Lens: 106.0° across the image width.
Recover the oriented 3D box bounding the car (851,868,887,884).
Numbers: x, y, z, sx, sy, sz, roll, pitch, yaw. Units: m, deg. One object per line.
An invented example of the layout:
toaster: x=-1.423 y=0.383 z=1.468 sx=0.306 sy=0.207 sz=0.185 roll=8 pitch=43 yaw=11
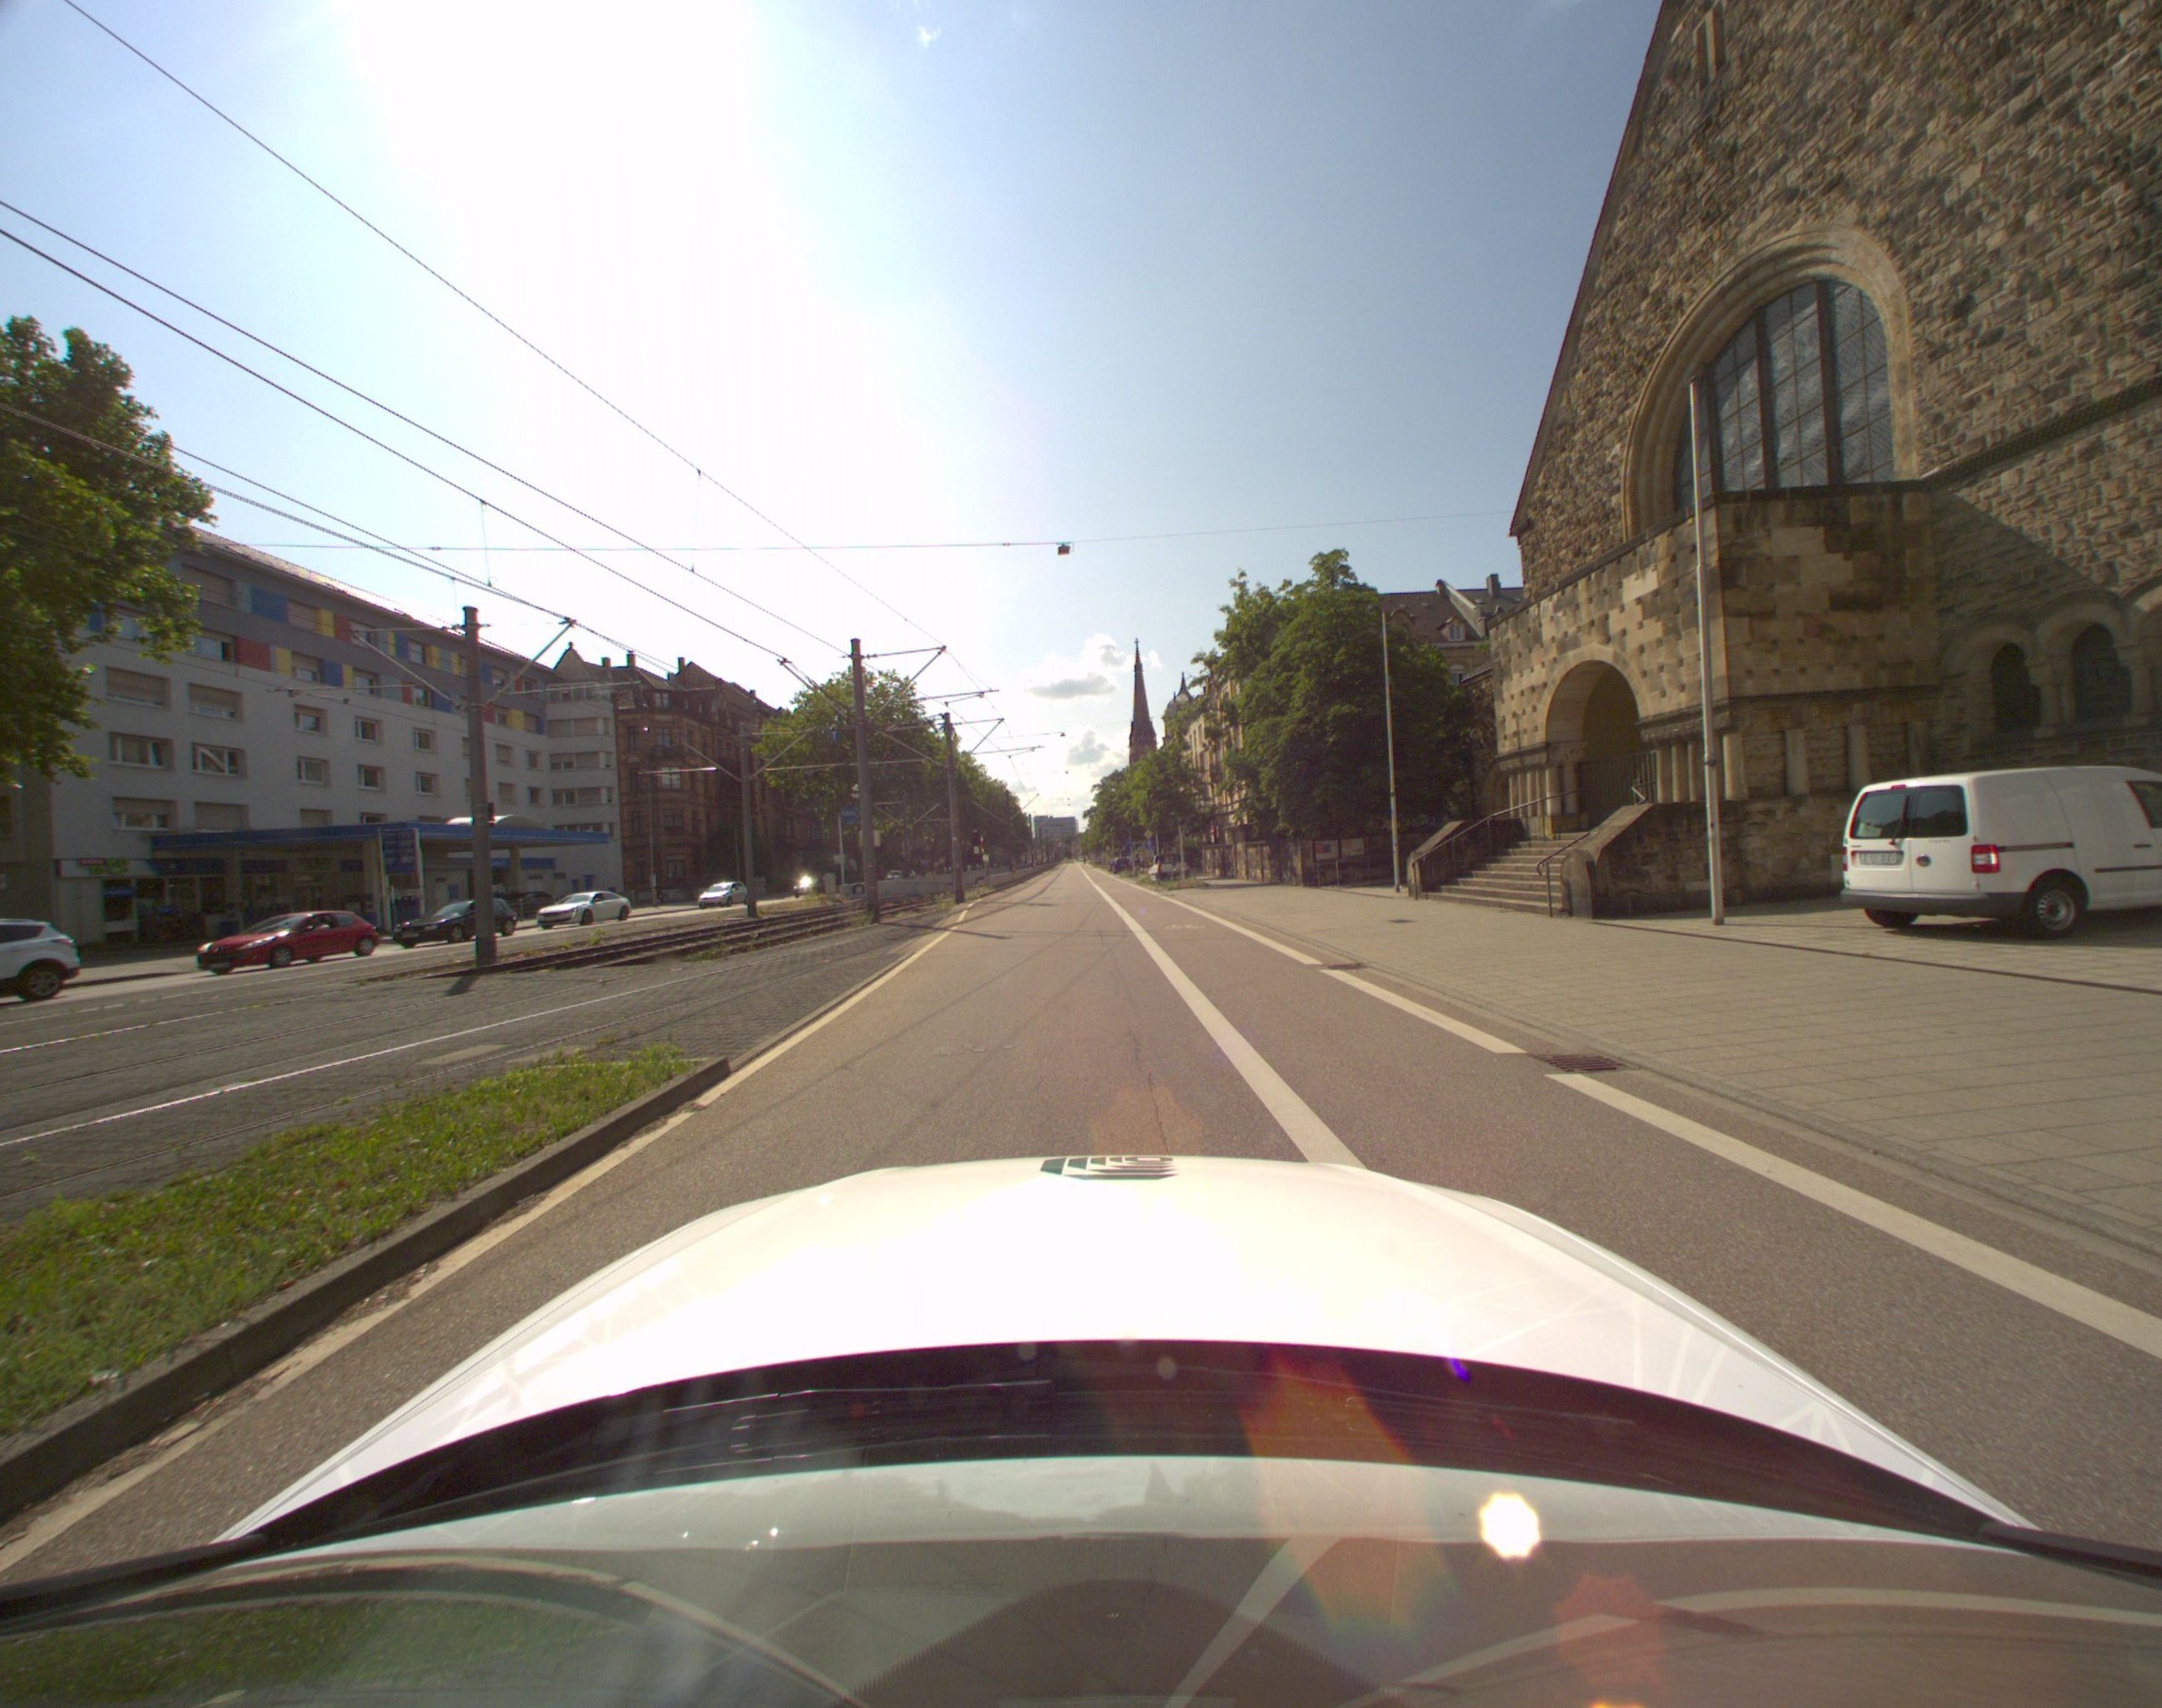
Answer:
car: x=-29.277 y=3.048 z=112.499 sx=4.391 sy=1.918 sz=1.998 roll=-3 pitch=-1 yaw=-3

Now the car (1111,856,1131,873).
car: x=3.764 y=0.962 z=77.200 sx=1.681 sy=1.502 sz=4.707 roll=-3 pitch=0 yaw=0

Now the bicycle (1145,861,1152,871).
bicycle: x=7.115 y=1.249 z=85.650 sx=0.426 sy=0.940 sz=1.807 roll=-6 pitch=-1 yaw=0

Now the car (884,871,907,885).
car: x=-20.490 y=2.683 z=90.177 sx=1.491 sy=1.303 sz=3.492 roll=-6 pitch=0 yaw=2

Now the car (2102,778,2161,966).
car: x=10.749 y=0.038 z=6.215 sx=3.757 sy=1.547 sz=1.796 roll=-3 pitch=0 yaw=-3

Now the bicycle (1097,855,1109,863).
bicycle: x=3.571 y=0.824 z=133.329 sx=1.818 sy=1.145 sz=0.649 roll=-6 pitch=0 yaw=-12

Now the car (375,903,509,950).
car: x=-21.702 y=2.426 z=27.847 sx=1.611 sy=1.189 sz=3.634 roll=-3 pitch=0 yaw=1

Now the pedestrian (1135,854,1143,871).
pedestrian: x=6.402 y=0.891 z=89.900 sx=0.668 sy=1.804 sz=0.319 roll=-6 pitch=0 yaw=-3

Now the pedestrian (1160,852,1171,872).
pedestrian: x=7.006 y=0.675 z=67.419 sx=0.721 sy=1.629 sz=0.724 roll=-3 pitch=-1 yaw=-1

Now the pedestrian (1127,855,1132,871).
pedestrian: x=5.312 y=1.002 z=89.062 sx=0.316 sy=1.706 sz=0.462 roll=-6 pitch=0 yaw=13

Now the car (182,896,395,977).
car: x=-21.457 y=2.168 z=22.329 sx=1.707 sy=1.606 sz=4.142 roll=-4 pitch=1 yaw=-1

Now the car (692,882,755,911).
car: x=-21.534 y=2.520 z=49.278 sx=1.716 sy=1.416 sz=4.405 roll=-4 pitch=0 yaw=1

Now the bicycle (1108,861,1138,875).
bicycle: x=4.278 y=1.411 z=83.704 sx=2.950 sy=1.246 sz=0.789 roll=-3 pitch=-1 yaw=-14

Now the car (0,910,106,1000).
car: x=-21.936 y=2.108 z=15.201 sx=1.755 sy=1.606 sz=4.678 roll=-4 pitch=1 yaw=-1

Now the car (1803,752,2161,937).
car: x=11.274 y=-0.160 z=9.562 sx=3.994 sy=1.824 sz=1.861 roll=-3 pitch=0 yaw=-4

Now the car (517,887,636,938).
car: x=-21.610 y=2.455 z=35.186 sx=1.941 sy=1.606 sz=5.075 roll=-4 pitch=1 yaw=-1

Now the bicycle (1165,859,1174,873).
bicycle: x=7.348 y=1.000 z=67.691 sx=0.468 sy=1.108 sz=1.711 roll=-3 pitch=-1 yaw=0

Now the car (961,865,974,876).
car: x=-21.654 y=3.160 z=155.220 sx=1.833 sy=1.727 sz=3.999 roll=-6 pitch=0 yaw=-1

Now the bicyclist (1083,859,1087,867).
bicyclist: x=0.885 y=1.992 z=176.996 sx=0.768 sy=1.730 sz=1.026 roll=-3 pitch=-1 yaw=0

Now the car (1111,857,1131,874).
car: x=3.653 y=1.018 z=74.453 sx=1.661 sy=1.416 sz=3.590 roll=-3 pitch=0 yaw=5

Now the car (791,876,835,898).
car: x=-19.964 y=2.457 z=60.794 sx=1.661 sy=1.416 sz=3.787 roll=-3 pitch=0 yaw=5

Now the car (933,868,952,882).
car: x=-20.877 y=3.165 z=122.704 sx=1.710 sy=1.691 sz=3.736 roll=-5 pitch=0 yaw=6

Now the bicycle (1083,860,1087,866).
bicycle: x=0.884 y=1.855 z=176.881 sx=0.796 sy=1.237 sz=2.777 roll=-3 pitch=-1 yaw=0

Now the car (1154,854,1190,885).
car: x=4.613 y=0.732 z=40.980 sx=1.659 sy=1.416 sz=3.852 roll=-2 pitch=0 yaw=8

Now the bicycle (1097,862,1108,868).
bicycle: x=3.870 y=1.951 z=145.965 sx=1.813 sy=0.902 sz=0.650 roll=-6 pitch=0 yaw=-4

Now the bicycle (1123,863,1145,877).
bicycle: x=4.445 y=1.300 z=68.125 sx=1.704 sy=1.069 sz=0.470 roll=-3 pitch=-1 yaw=-7
